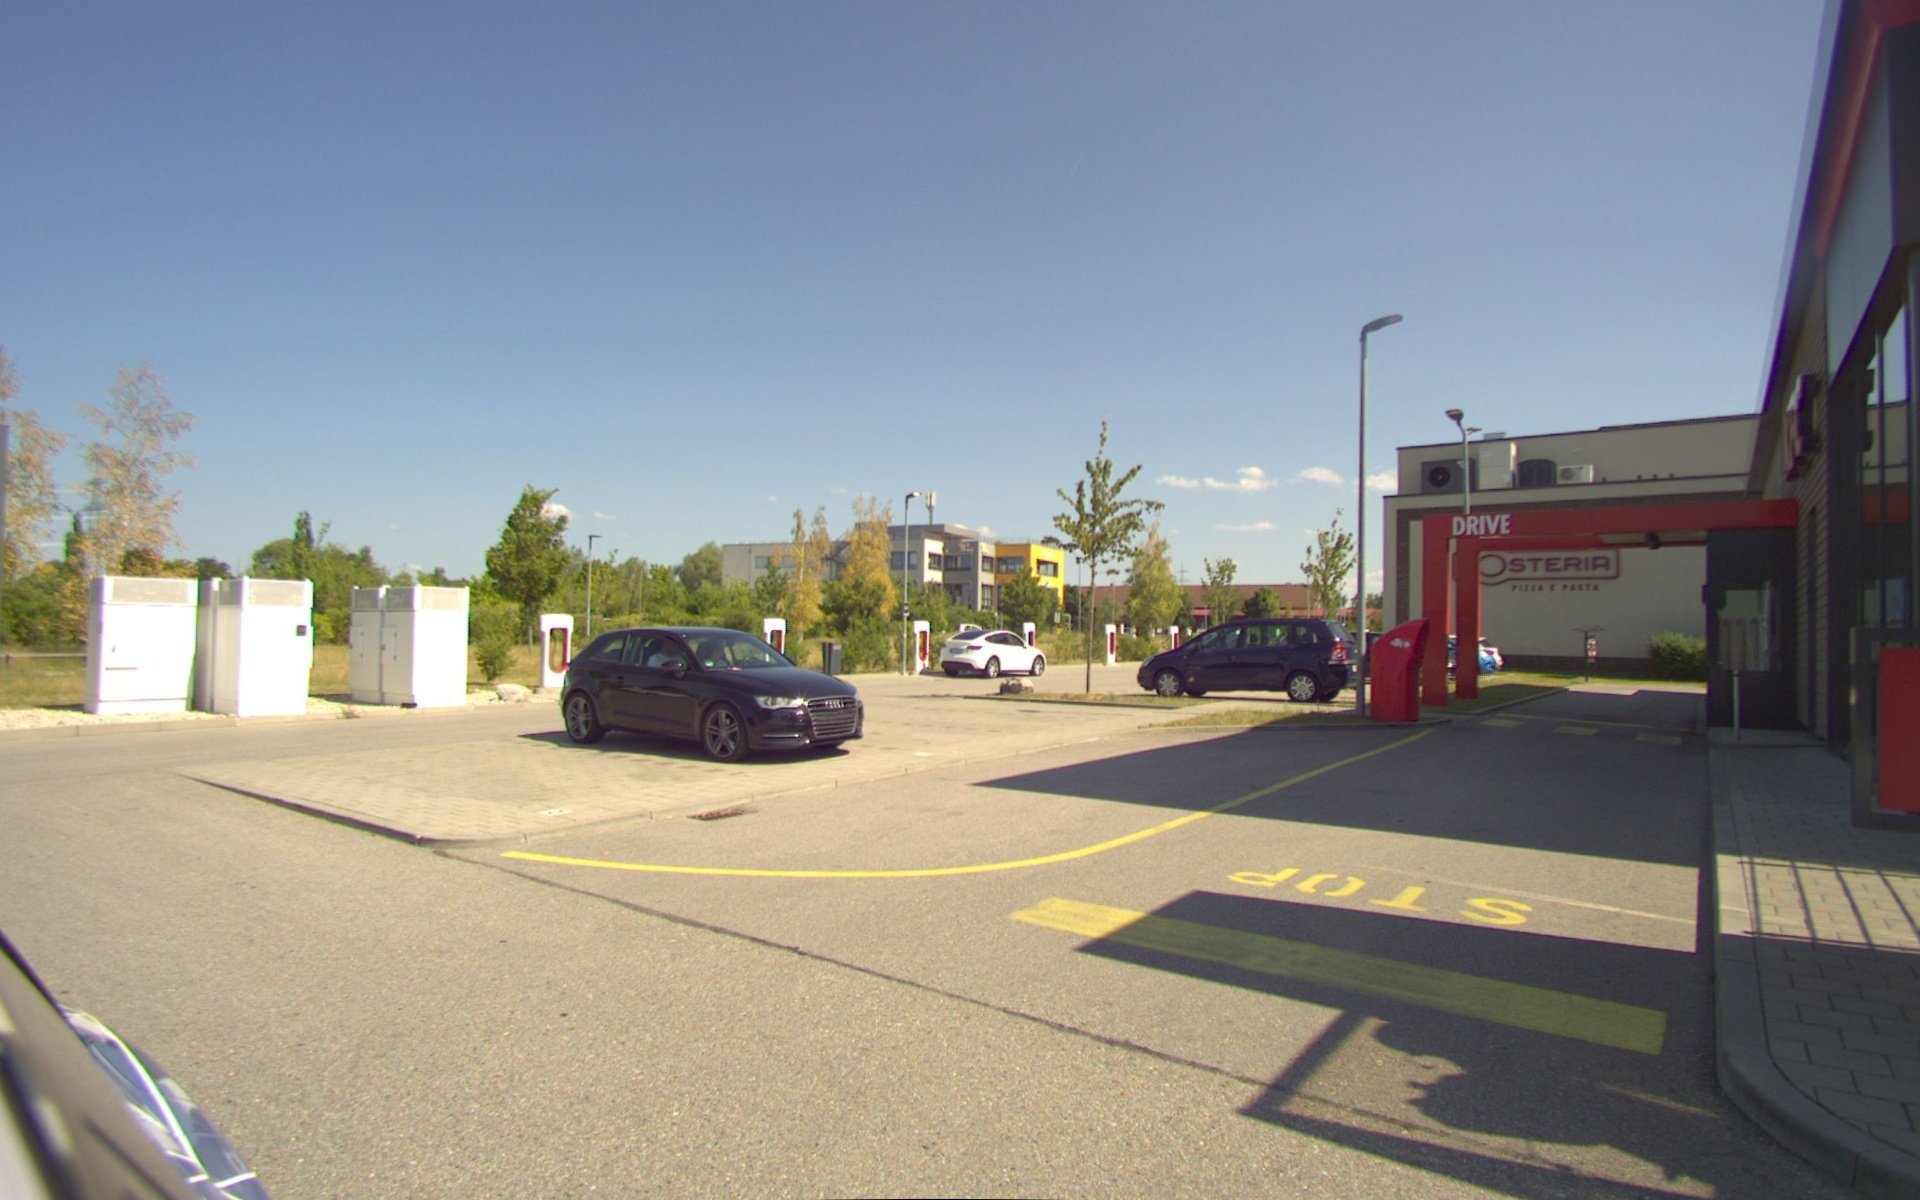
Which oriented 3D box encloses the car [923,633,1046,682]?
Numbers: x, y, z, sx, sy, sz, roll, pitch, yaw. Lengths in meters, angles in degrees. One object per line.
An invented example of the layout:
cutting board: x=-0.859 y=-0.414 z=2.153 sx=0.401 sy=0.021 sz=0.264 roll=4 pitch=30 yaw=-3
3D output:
car: x=0.930 y=1.967 z=35.402 sx=2.214 sy=1.538 sz=4.379 roll=1 pitch=-1 yaw=36

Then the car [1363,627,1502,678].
car: x=15.782 y=1.710 z=33.876 sx=3.991 sy=1.621 sz=1.767 roll=-1 pitch=-2 yaw=36

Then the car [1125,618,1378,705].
car: x=5.834 y=1.190 z=20.468 sx=4.539 sy=1.581 sz=1.976 roll=-1 pitch=-3 yaw=35

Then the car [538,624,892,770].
car: x=-2.994 y=1.008 z=11.966 sx=4.306 sy=1.422 sz=1.708 roll=-1 pitch=-2 yaw=36

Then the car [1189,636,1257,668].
car: x=13.594 y=2.647 z=52.149 sx=2.066 sy=1.519 sz=3.951 roll=1 pitch=-1 yaw=36

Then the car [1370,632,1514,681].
car: x=17.194 y=1.980 z=36.197 sx=4.437 sy=1.621 sz=1.767 roll=-1 pitch=-2 yaw=36
